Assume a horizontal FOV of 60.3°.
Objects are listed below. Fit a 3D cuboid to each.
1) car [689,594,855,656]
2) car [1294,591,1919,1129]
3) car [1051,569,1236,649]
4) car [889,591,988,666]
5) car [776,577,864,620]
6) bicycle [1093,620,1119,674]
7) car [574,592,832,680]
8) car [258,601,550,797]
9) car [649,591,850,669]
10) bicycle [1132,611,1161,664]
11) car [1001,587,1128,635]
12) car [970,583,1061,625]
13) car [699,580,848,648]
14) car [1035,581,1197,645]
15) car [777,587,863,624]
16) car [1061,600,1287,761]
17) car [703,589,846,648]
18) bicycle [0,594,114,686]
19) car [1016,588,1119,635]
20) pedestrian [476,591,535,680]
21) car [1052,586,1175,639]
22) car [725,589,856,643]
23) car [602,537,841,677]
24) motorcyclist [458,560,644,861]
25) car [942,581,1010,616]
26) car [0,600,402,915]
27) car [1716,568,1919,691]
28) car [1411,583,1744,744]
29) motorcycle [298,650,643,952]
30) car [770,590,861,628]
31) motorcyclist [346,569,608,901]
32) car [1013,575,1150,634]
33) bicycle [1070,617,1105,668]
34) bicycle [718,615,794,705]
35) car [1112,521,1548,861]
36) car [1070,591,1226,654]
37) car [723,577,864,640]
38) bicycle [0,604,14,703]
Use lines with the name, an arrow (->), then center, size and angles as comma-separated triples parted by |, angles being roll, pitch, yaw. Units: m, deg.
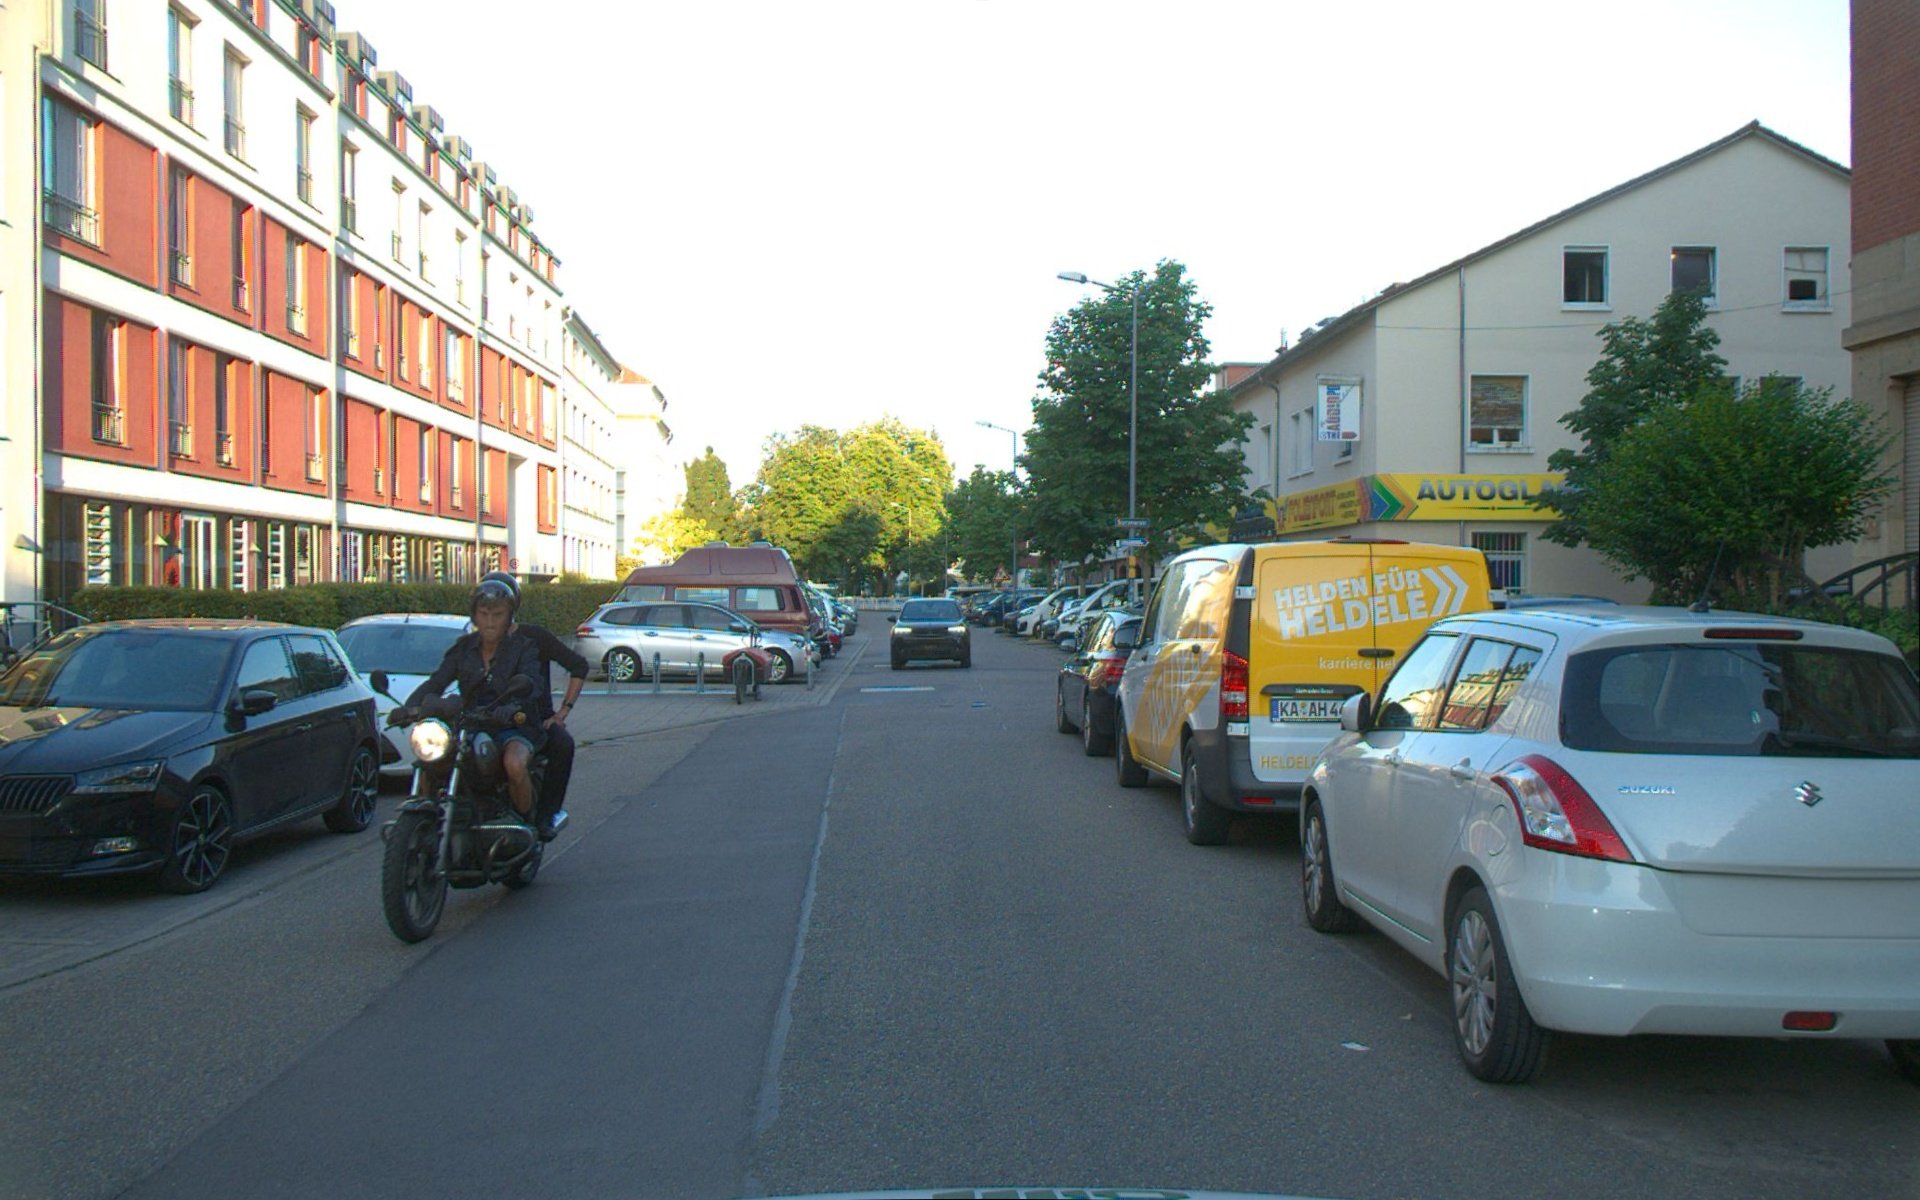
car -> -4.856, 0.634, 43.127 | 4.124, 1.516, 1.849 | 1, 0, -1
car -> 2.516, 0.725, 6.572 | 1.640, 1.503, 3.862 | 0, 0, 1
car -> 5.140, 0.242, 46.798 | 4.889, 2.018, 2.219 | -2, 0, -1
car -> -0.427, 0.586, 36.912 | 1.742, 1.544, 4.003 | -2, 0, 6
car -> -7.285, -0.077, 86.369 | 4.442, 2.171, 1.999 | 1, 0, -2
bicycle -> 3.514, 1.126, 39.804 | 0.378, 1.221, 2.017 | -1, 0, -1
car -> -4.633, 0.636, 30.378 | 4.526, 1.486, 1.879 | 1, 0, -5
car -> -4.972, 0.799, 15.336 | 1.618, 1.557, 4.013 | 0, 0, -4
car -> -4.458, 0.626, 35.530 | 4.126, 1.565, 1.789 | 1, 0, -4
bicycle -> 4.484, 0.887, 39.852 | 0.378, 1.221, 2.017 | -1, 0, -1
car -> 4.191, 0.428, 66.879 | 4.846, 1.718, 2.075 | -2, 0, -4
car -> 2.826, 0.186, 84.321 | 4.393, 1.945, 1.685 | -2, 0, -7
car -> -5.421, 0.412, 48.531 | 4.171, 1.868, 1.999 | 1, 0, -2
car -> 4.873, 0.406, 52.192 | 4.844, 1.772, 2.049 | -2, 0, -1
car -> -7.064, 0.274, 83.737 | 4.171, 1.780, 1.999 | 1, 0, -2
car -> 2.123, 0.751, 17.497 | 1.687, 1.449, 4.251 | 1, 0, -2
car -> -5.677, 0.559, 50.996 | 4.171, 1.689, 1.999 | 1, 0, -2
bicycle -> -12.288, 0.520, 21.989 | 1.739, 1.168, 0.610 | 1, 0, 0
car -> 4.658, 0.490, 71.800 | 4.231, 1.835, 1.809 | -2, 0, -4
pedestrian -> -8.035, 0.619, 29.267 | 0.815, 1.527, 0.798 | 1, 0, -1
car -> 5.043, 0.397, 54.774 | 3.832, 1.552, 1.938 | -2, 0, -1
car -> -5.628, 0.524, 55.354 | 4.171, 1.681, 1.887 | 1, 0, -2
car -> -4.677, 0.130, 32.955 | 4.419, 2.629, 2.000 | 1, 0, 0
motorcyclist -> -2.226, 0.589, 9.045 | 0.770, 1.567, 0.546 | -3, 0, 8
car -> 0.951, -0.092, 99.878 | 3.892, 1.945, 2.046 | -2, 0, -7
car -> -4.897, 0.792, 10.221 | 1.669, 1.561, 3.843 | 0, 0, -2
car -> 13.633, 0.427, 24.247 | 4.233, 1.702, 1.877 | -1, -1, -4
car -> 6.373, 0.582, 17.641 | 1.692, 1.449, 4.421 | -2, 0, -3
motorcycle -> -2.368, 0.925, 8.336 | 0.828, 1.230, 2.076 | -3, 0, 8
car -> -6.869, 0.424, 78.970 | 4.171, 1.744, 1.999 | 1, 0, -2
motorcyclist -> -2.384, 0.640, 8.282 | 0.870, 1.531, 0.970 | -3, 0, 8
car -> 4.529, 0.150, 62.108 | 4.846, 1.992, 2.048 | -2, 0, -4
bicycle -> 3.049, 0.992, 39.597 | 0.430, 1.150, 2.014 | -1, 0, -7
bicycle -> -3.061, 0.876, 25.127 | 0.791, 1.243, 2.865 | 1, 0, 0
car -> 2.329, 0.509, 11.896 | 1.855, 1.917, 5.080 | 0, 0, -2
car -> 4.961, 0.581, 44.006 | 3.841, 1.476, 1.767 | -2, 0, -4
car -> -5.776, 0.284, 57.905 | 4.753, 2.056, 1.906 | 1, 0, -2
bicycle -> -12.293, 0.618, 19.404 | 1.876, 1.161, 0.812 | 1, 0, -1
